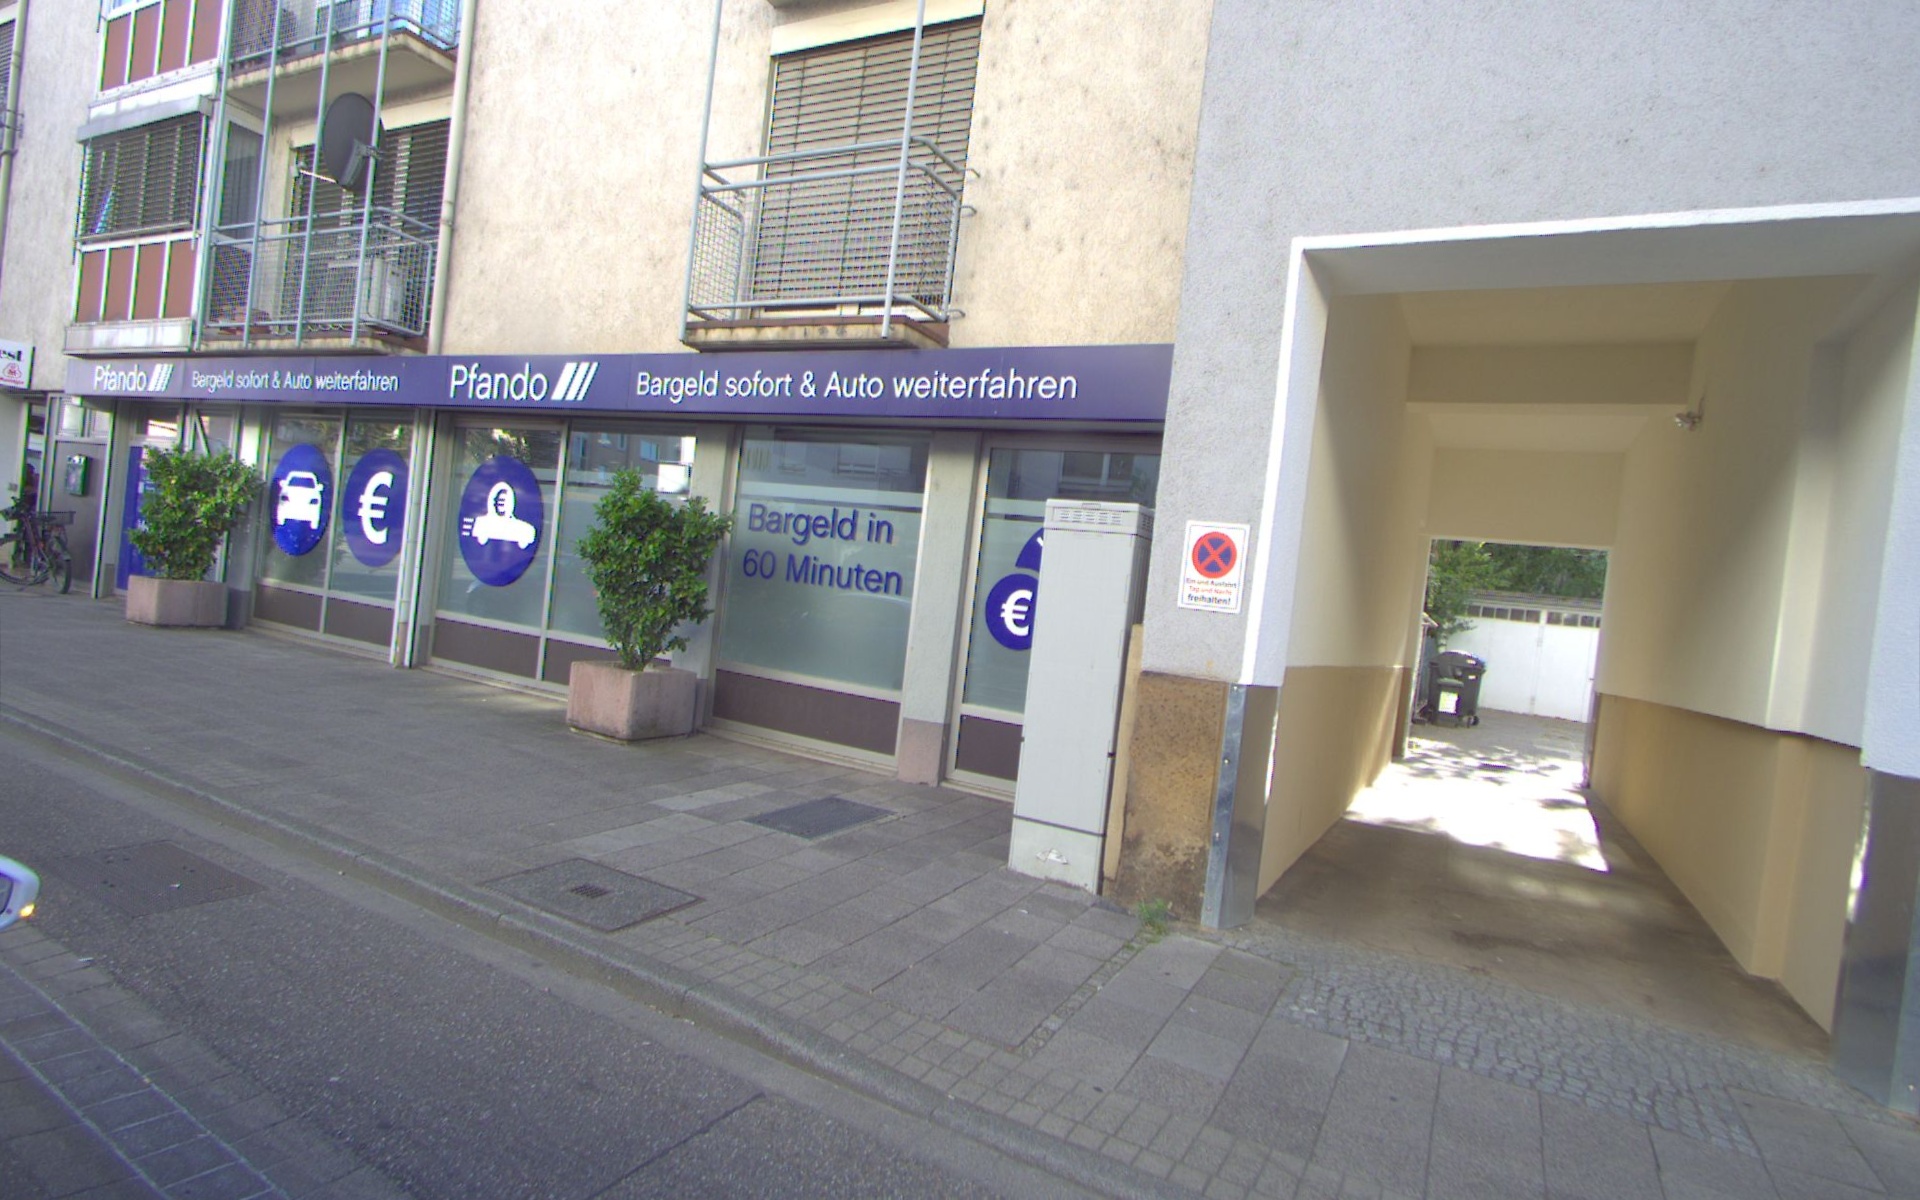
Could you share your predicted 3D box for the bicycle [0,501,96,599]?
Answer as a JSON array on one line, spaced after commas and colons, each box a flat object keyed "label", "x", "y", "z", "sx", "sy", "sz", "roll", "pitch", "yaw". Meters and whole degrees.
[{"label": "bicycle", "x": -11.845, "y": -0.662, "z": 12.871, "sx": 1.779, "sy": 1.086, "sz": 0.531, "roll": 7, "pitch": 1, "yaw": 28}]
